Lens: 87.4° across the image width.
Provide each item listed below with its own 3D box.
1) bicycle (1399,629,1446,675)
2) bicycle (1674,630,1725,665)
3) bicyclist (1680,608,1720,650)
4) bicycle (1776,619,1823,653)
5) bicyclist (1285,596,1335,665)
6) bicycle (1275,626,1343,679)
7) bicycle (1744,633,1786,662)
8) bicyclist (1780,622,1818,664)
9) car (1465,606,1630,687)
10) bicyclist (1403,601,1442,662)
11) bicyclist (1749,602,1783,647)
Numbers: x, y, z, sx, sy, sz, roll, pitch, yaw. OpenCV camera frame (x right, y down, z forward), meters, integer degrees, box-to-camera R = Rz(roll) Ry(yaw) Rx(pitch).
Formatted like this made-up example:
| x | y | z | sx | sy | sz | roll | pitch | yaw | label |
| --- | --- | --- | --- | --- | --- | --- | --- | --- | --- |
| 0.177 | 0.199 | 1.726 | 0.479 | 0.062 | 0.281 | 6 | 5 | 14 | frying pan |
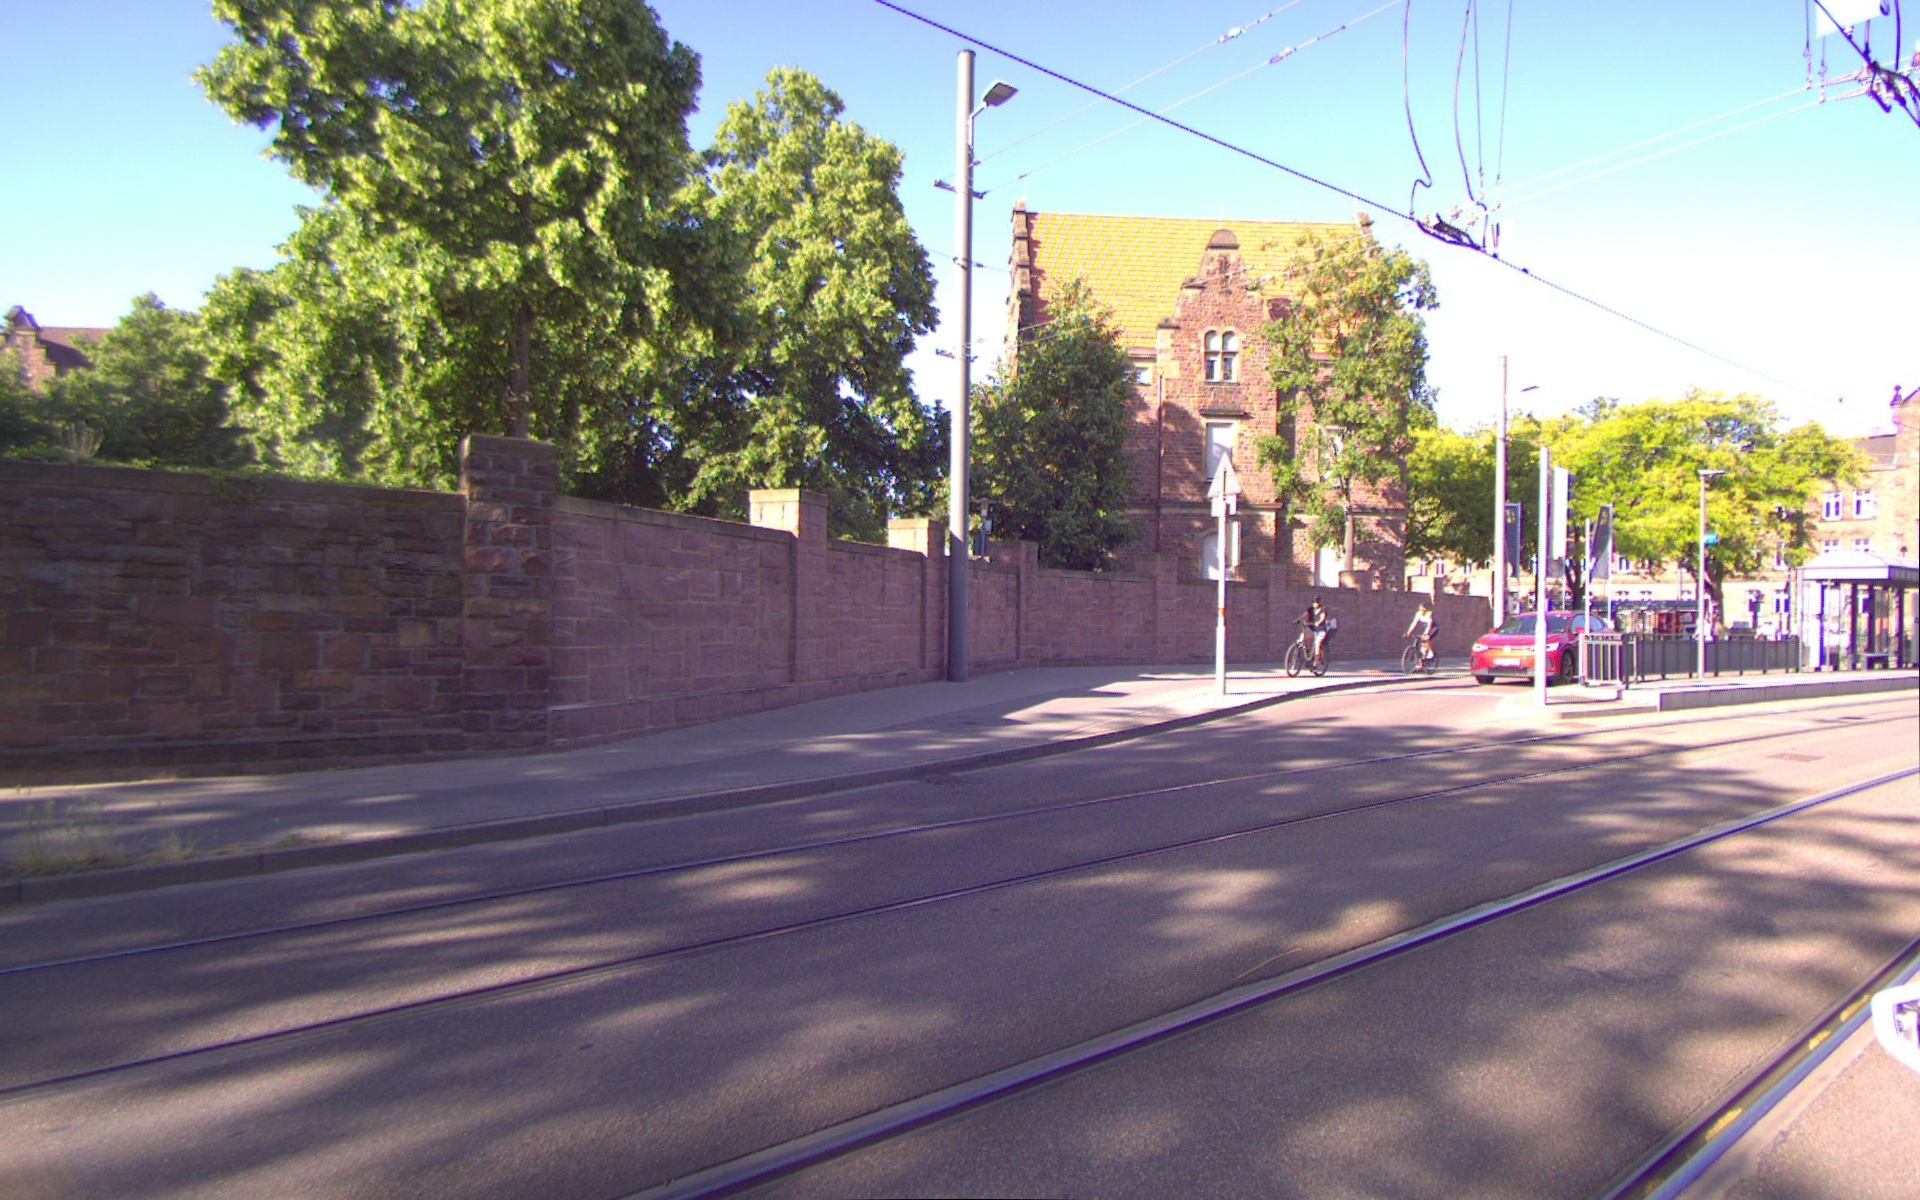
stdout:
| x | y | z | sx | sy | sz | roll | pitch | yaw | label |
| --- | --- | --- | --- | --- | --- | --- | --- | --- | --- |
| 11.689 | 1.333 | 25.371 | 0.676 | 1.103 | 1.848 | 1 | -3 | 37 | bicycle |
| 26.626 | 1.706 | 36.168 | 1.931 | 1.214 | 0.811 | 2 | 0 | -32 | bicycle |
| 26.630 | 1.047 | 36.147 | 1.177 | 1.490 | 0.752 | 2 | 0 | -31 | bicyclist |
| 32.069 | 1.374 | 38.364 | 2.066 | 1.247 | 0.772 | 1 | 0 | -33 | bicycle |
| 7.707 | 0.655 | 22.101 | 0.645 | 1.478 | 1.146 | 1 | 0 | 42 | bicyclist |
| 7.688 | 1.122 | 22.086 | 0.677 | 1.103 | 2.053 | 1 | -1 | 42 | bicycle |
| 31.534 | 1.844 | 39.348 | 1.992 | 1.087 | 0.665 | 1 | 1 | -32 | bicycle |
| 32.049 | 1.621 | 38.358 | 1.333 | 1.557 | 0.756 | 1 | 0 | -33 | bicyclist |
| 13.276 | 1.001 | 22.610 | 4.322 | 1.628 | 1.803 | 1 | -1 | -39 | car |
| 11.677 | 0.790 | 25.357 | 0.644 | 1.478 | 1.147 | 1 | 0 | 37 | bicyclist |
| 31.587 | 0.944 | 39.347 | 1.219 | 1.697 | 0.646 | -1 | 2 | -33 | bicyclist |
